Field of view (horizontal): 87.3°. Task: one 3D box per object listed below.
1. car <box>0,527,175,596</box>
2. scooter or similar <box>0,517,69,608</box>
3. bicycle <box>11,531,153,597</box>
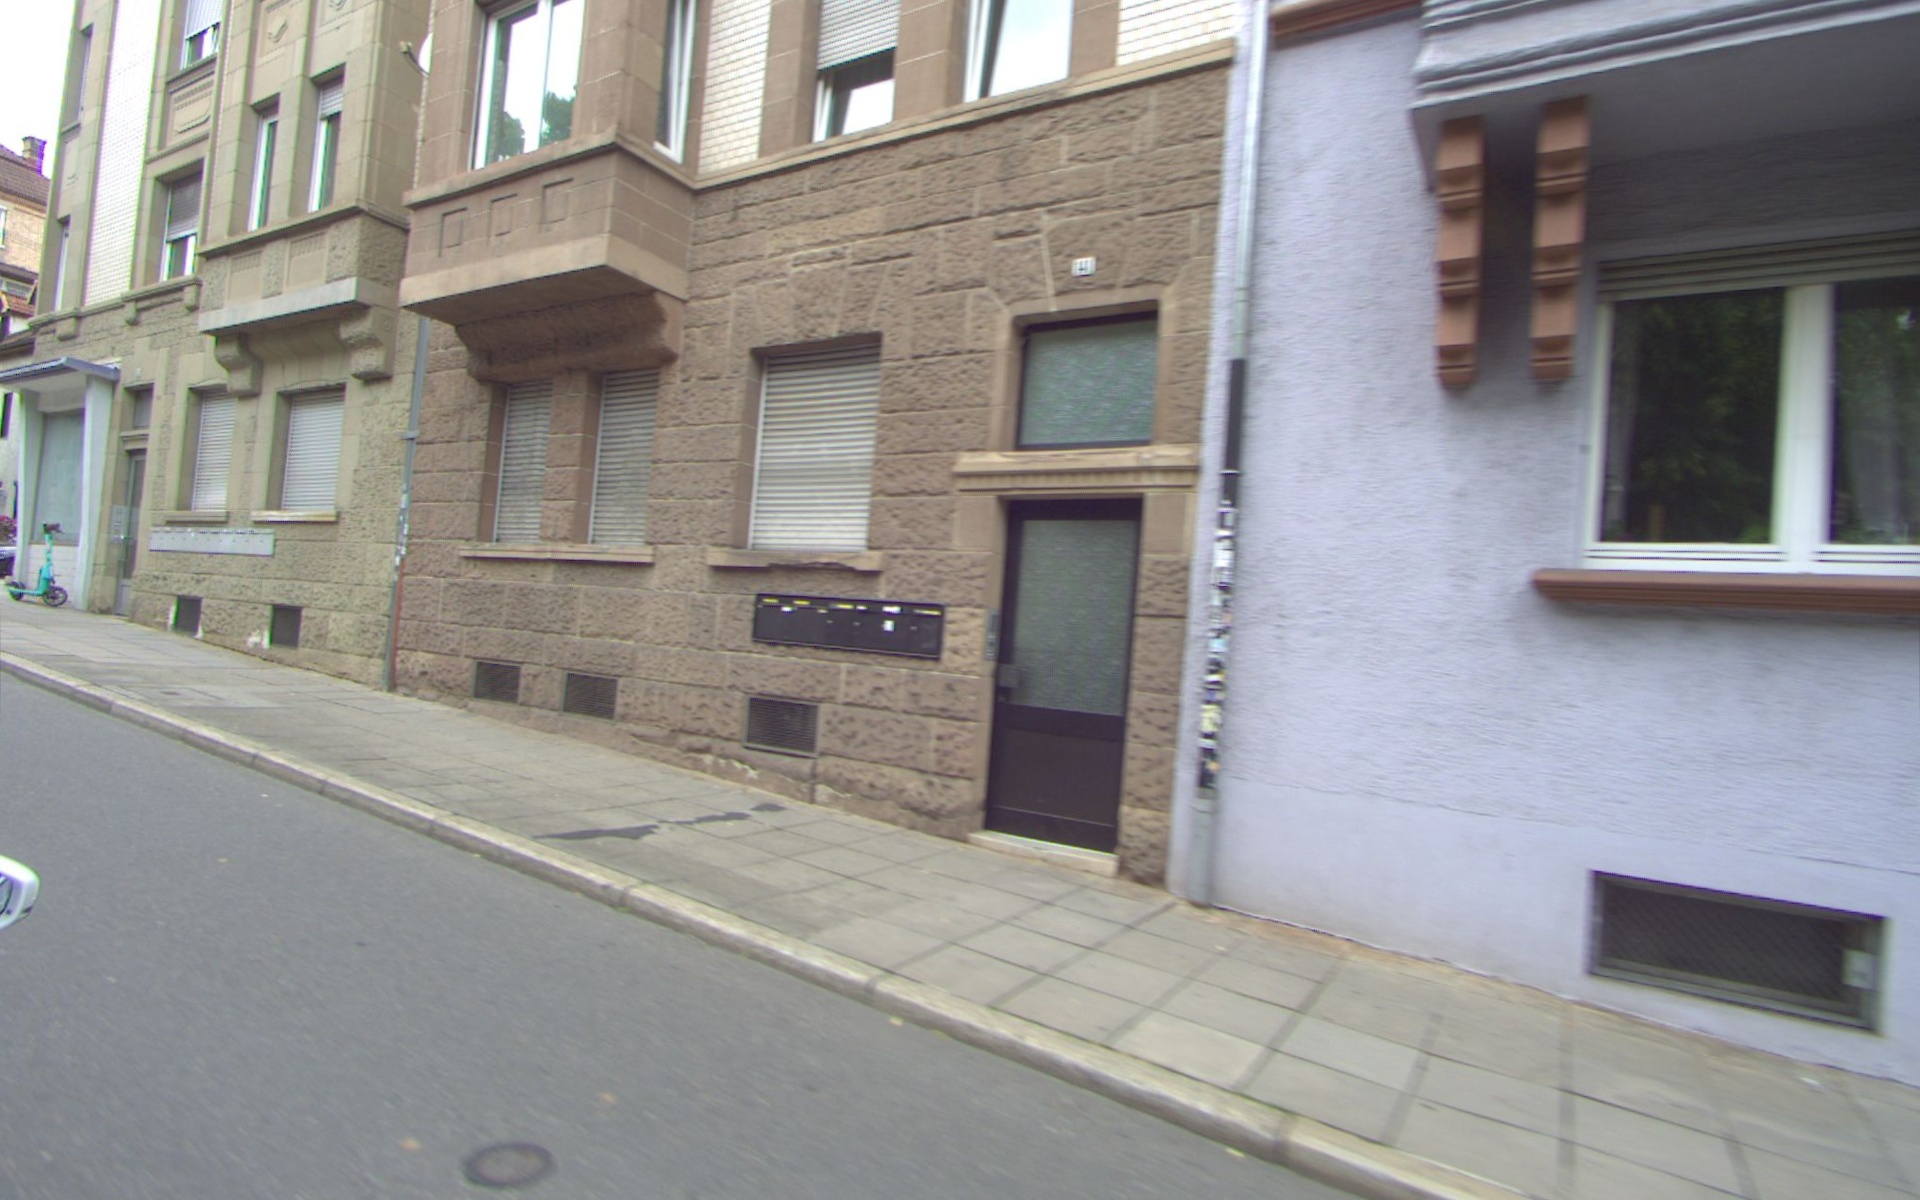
[{"bbox_3d":[-24.523,-1.080,27.686,1.752,1.300,4.135,9,-1,29],"label":"car"},{"bbox_3d":[-13.986,-0.574,15.196,1.126,1.226,0.410,9,3,31],"label":"scooter or similar"},{"bbox_3d":[-17.859,-0.710,20.509,2.040,1.152,0.641,3,-4,-13],"label":"bicycle"}]
